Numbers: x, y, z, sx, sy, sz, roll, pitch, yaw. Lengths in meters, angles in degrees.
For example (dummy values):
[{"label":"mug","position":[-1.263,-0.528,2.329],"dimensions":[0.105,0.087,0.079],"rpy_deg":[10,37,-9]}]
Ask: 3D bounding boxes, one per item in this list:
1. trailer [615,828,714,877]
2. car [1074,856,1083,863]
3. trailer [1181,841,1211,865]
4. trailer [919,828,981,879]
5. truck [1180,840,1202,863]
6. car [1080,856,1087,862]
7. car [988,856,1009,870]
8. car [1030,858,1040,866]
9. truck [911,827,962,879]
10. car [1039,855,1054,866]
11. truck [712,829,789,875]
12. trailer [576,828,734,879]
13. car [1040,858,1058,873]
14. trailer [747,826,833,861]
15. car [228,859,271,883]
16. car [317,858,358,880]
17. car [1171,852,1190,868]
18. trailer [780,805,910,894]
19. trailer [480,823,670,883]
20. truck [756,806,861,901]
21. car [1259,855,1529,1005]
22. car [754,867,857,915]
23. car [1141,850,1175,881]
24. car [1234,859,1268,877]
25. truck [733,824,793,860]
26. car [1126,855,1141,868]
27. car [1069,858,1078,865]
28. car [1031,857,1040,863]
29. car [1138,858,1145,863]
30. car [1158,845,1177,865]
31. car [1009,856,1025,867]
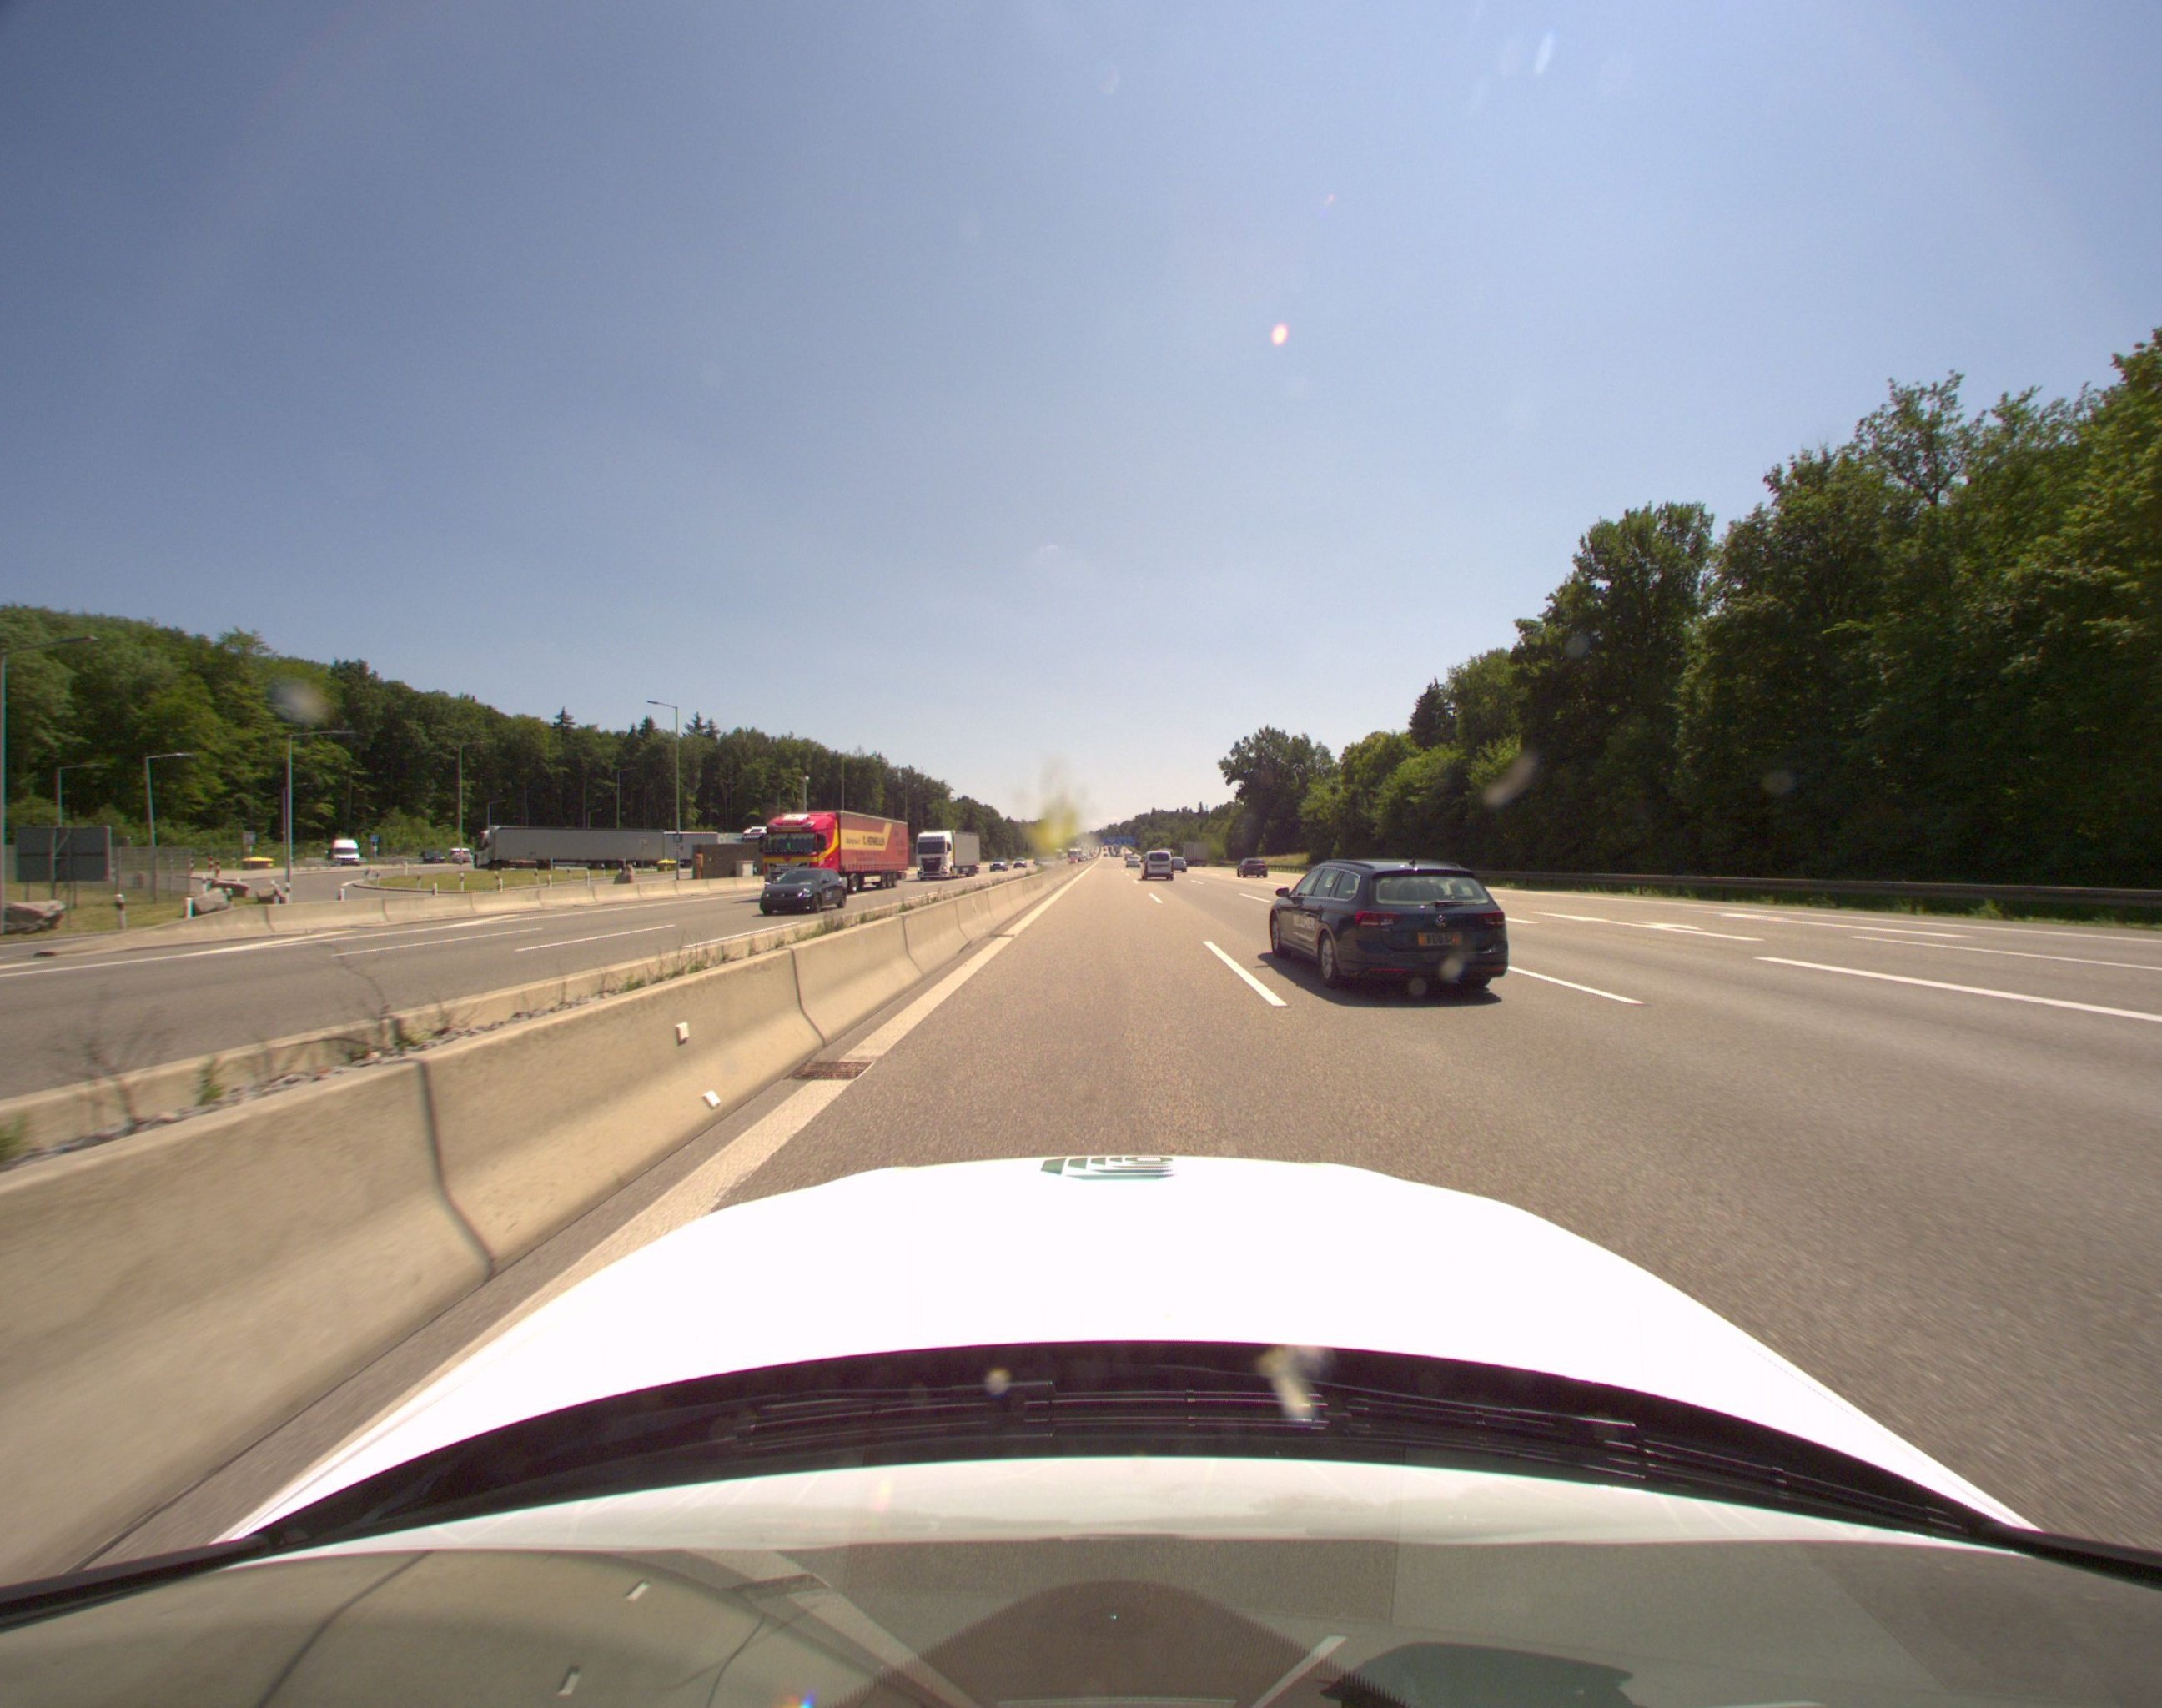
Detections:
[{"label":"trailer","position":[-49.409,-0.178,96.804],"dimensions":[9.997,5.613,3.188],"rpy_deg":[0,0,-44]},{"label":"car","position":[-0.629,1.383,214.178],"dimensions":[1.986,1.663,5.755],"rpy_deg":[-2,0,1]},{"label":"trailer","position":[19.599,-0.229,139.425],"dimensions":[3.276,3.930,13.894],"rpy_deg":[1,1,1]},{"label":"trailer","position":[-11.445,-0.020,72.806],"dimensions":[2.744,4.001,14.472],"rpy_deg":[-1,0,2]},{"label":"truck","position":[19.733,-0.469,145.963],"dimensions":[3.243,4.106,5.990],"rpy_deg":[1,1,1]},{"label":"car","position":[0.783,1.523,237.922],"dimensions":[1.987,1.663,4.971],"rpy_deg":[-2,0,0]},{"label":"car","position":[-10.507,1.165,104.232],"dimensions":[1.986,1.774,5.040],"rpy_deg":[-1,0,2]},{"label":"car","position":[-9.787,1.712,174.576],"dimensions":[1.724,1.513,4.172],"rpy_deg":[-1,0,2]},{"label":"truck","position":[-11.643,-0.057,66.269],"dimensions":[2.725,4.031,6.784],"rpy_deg":[-1,0,2]},{"label":"car","position":[-5.714,0.996,136.156],"dimensions":[1.986,1.774,5.925],"rpy_deg":[-1,0,2]},{"label":"truck","position":[-42.120,-0.280,103.917],"dimensions":[8.537,5.613,3.188],"rpy_deg":[0,0,-44]},{"label":"trailer","position":[-45.004,-0.053,86.722],"dimensions":[14.650,5.072,3.184],"rpy_deg":[0,0,-44]},{"label":"car","position":[-3.817,1.339,97.313],"dimensions":[1.777,1.643,5.465],"rpy_deg":[-1,0,2]},{"label":"trailer","position":[-28.636,-0.906,81.213],"dimensions":[2.961,3.124,14.614],"rpy_deg":[-1,0,2]},{"label":"car","position":[-72.540,1.481,71.052],"dimensions":[3.948,2.013,2.013],"rpy_deg":[-1,0,35]},{"label":"car","position":[-70.340,1.406,77.044],"dimensions":[3.948,2.013,2.013],"rpy_deg":[-1,0,35]},{"label":"car","position":[9.589,0.591,78.883],"dimensions":[1.498,1.500,3.651],"rpy_deg":[-1,0,2]},{"label":"trailer","position":[-12.324,-0.173,44.512],"dimensions":[2.561,4.050,14.186],"rpy_deg":[-1,0,2]},{"label":"trailer","position":[-46.454,-0.091,75.494],"dimensions":[14.650,5.072,3.091],"rpy_deg":[0,0,-44]},{"label":"truck","position":[-12.512,-0.011,38.063],"dimensions":[2.518,4.049,6.474],"rpy_deg":[-1,0,2]},{"label":"car","position":[3.603,0.751,10.451],"dimensions":[1.723,1.447,4.964],"rpy_deg":[-1,0,2]},{"label":"car","position":[-9.018,1.153,27.061],"dimensions":[1.814,1.387,4.317],"rpy_deg":[-1,0,2]},{"label":"car","position":[4.791,0.686,51.237],"dimensions":[1.853,1.826,4.614],"rpy_deg":[-1,0,2]},{"label":"car","position":[12.480,0.984,59.998],"dimensions":[1.665,1.273,4.289],"rpy_deg":[0,0,0]},{"label":"truck","position":[-28.861,-1.008,74.231],"dimensions":[2.916,3.124,6.204],"rpy_deg":[-1,0,1]},{"label":"car","position":[6.902,0.960,107.303],"dimensions":[1.836,1.629,4.554],"rpy_deg":[-1,0,1]},{"label":"car","position":[-1.622,1.578,179.949],"dimensions":[1.724,1.513,5.046],"rpy_deg":[-1,0,2]},{"label":"car","position":[-12.122,1.582,217.998],"dimensions":[1.987,1.621,4.213],"rpy_deg":[-1,0,0]},{"label":"car","position":[17.034,1.810,229.628],"dimensions":[1.829,1.338,3.644],"rpy_deg":[-1,0,1]},{"label":"car","position":[11.943,0.144,112.857],"dimensions":[2.135,2.652,5.712],"rpy_deg":[0,1,2]},{"label":"car","position":[-10.318,1.153,132.354],"dimensions":[1.986,1.774,5.925],"rpy_deg":[-1,0,2]}]
